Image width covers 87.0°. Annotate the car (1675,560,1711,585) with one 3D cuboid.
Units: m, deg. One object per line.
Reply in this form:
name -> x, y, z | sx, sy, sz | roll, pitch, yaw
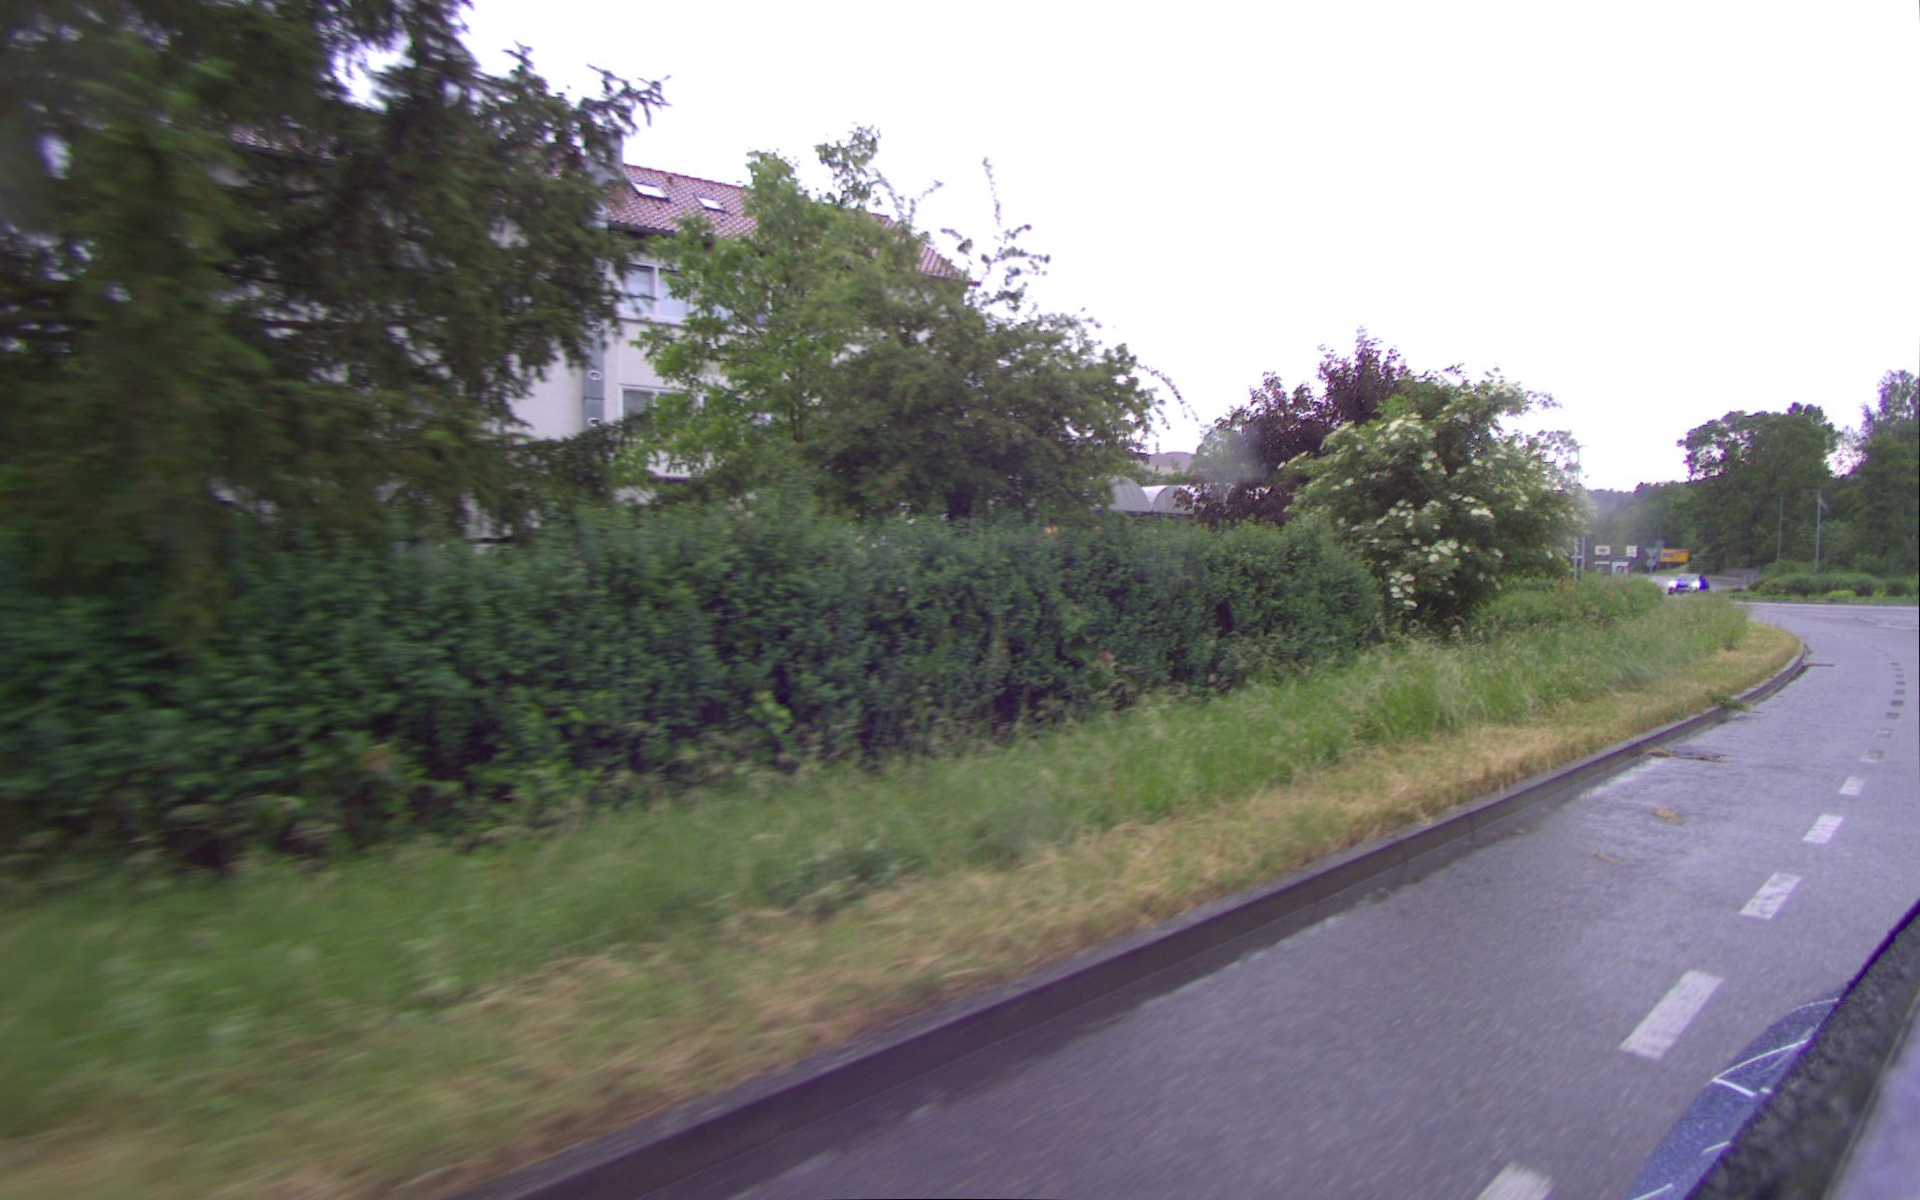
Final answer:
car -> 50.932, -1.926, 70.347 | 1.870, 1.625, 3.950 | 4, 4, 35
